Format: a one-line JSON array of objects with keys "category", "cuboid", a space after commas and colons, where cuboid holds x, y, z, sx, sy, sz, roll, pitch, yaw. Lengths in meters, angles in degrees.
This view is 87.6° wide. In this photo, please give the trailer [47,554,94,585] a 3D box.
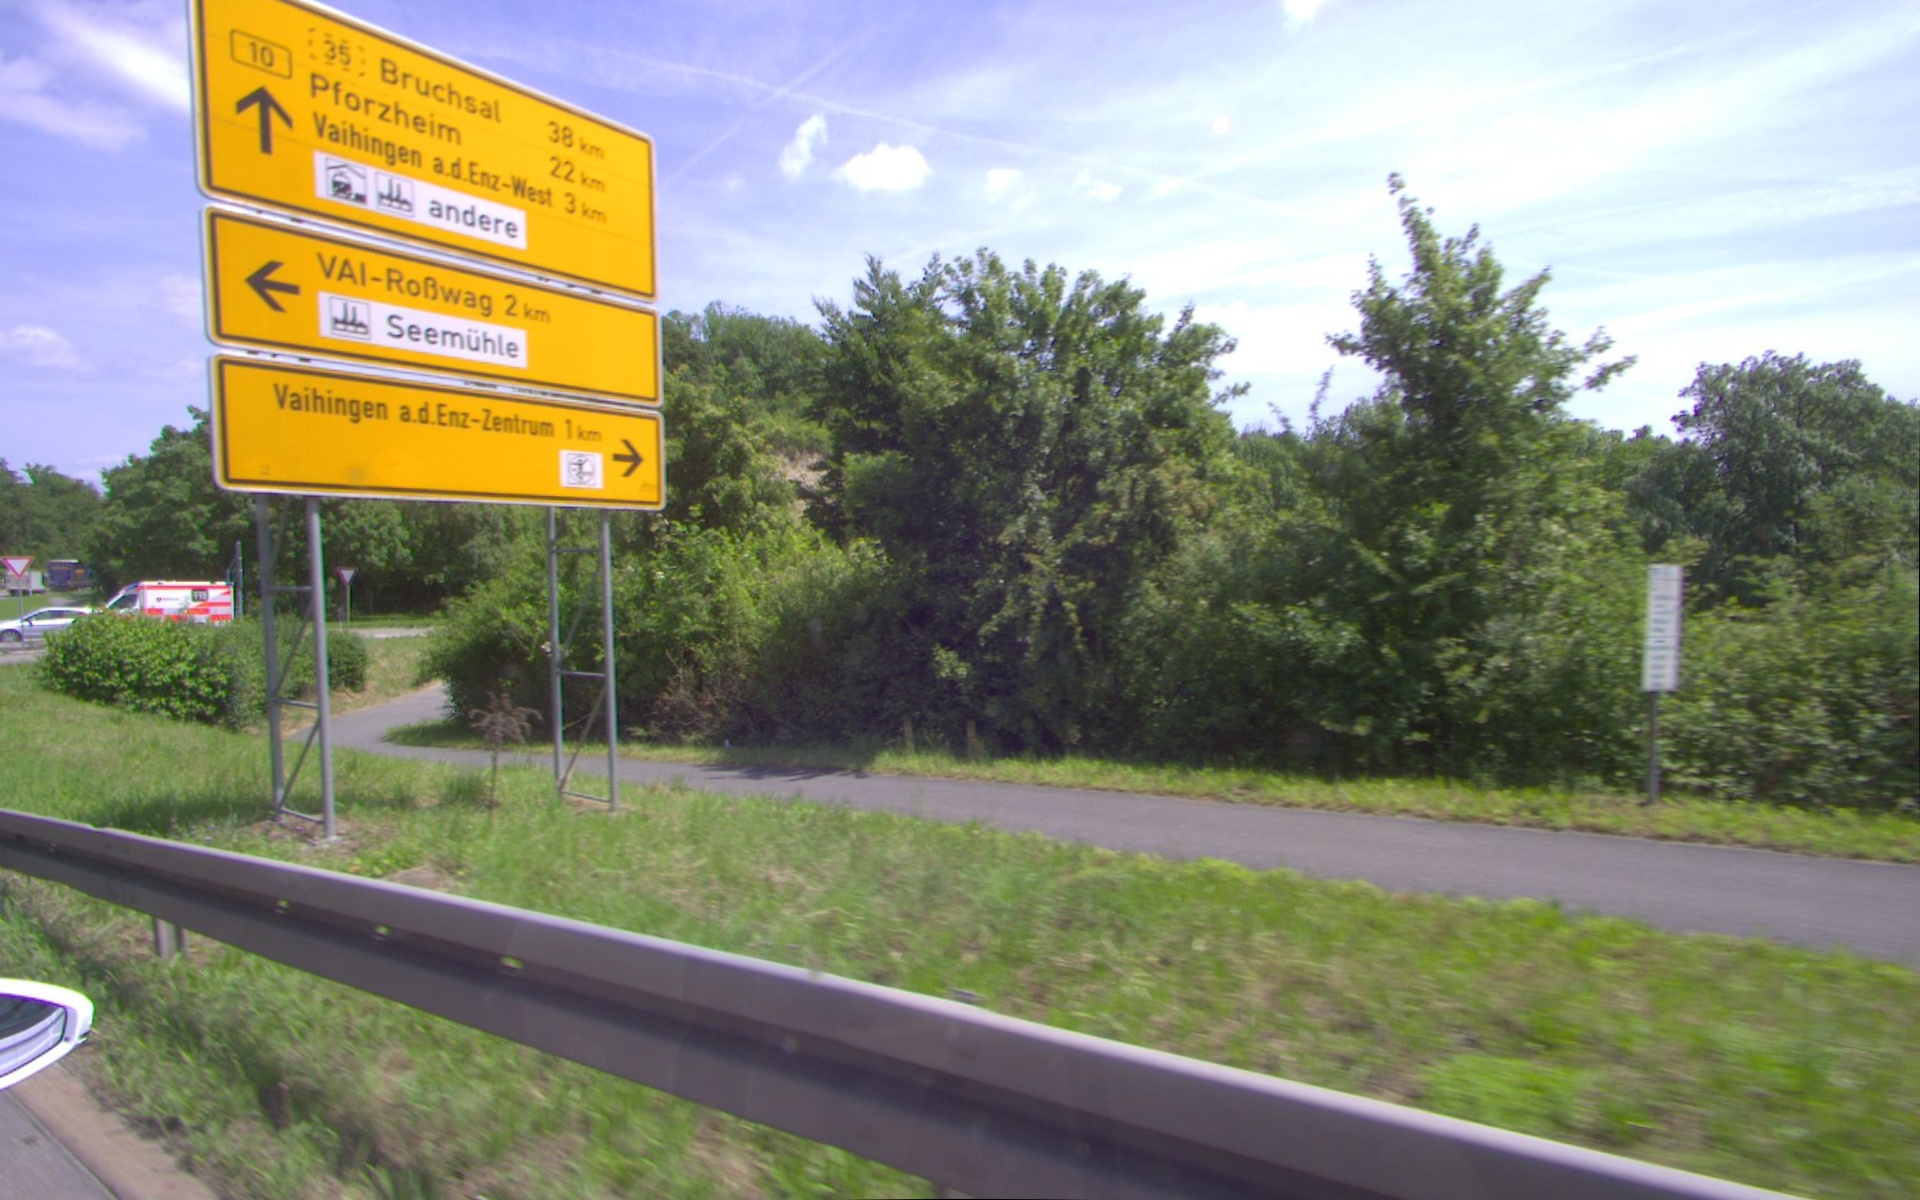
[{"category": "trailer", "cuboid": [-118.671, -4.018, 133.711, 3.218, 3.733, 9.193, 1, -1, -33]}]

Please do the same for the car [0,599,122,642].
[{"category": "car", "cuboid": [-39.255, 0.918, 43.281, 1.977, 1.740, 4.409, -2, -3, 40]}]

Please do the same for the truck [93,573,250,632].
[{"category": "truck", "cuboid": [-39.116, 0.204, 49.950, 5.955, 2.762, 2.486, 1, -3, -35]}]

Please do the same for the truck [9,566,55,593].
[{"category": "truck", "cuboid": [-110.722, -2.423, 119.510, 2.826, 2.986, 7.061, 1, -1, -33]}]
